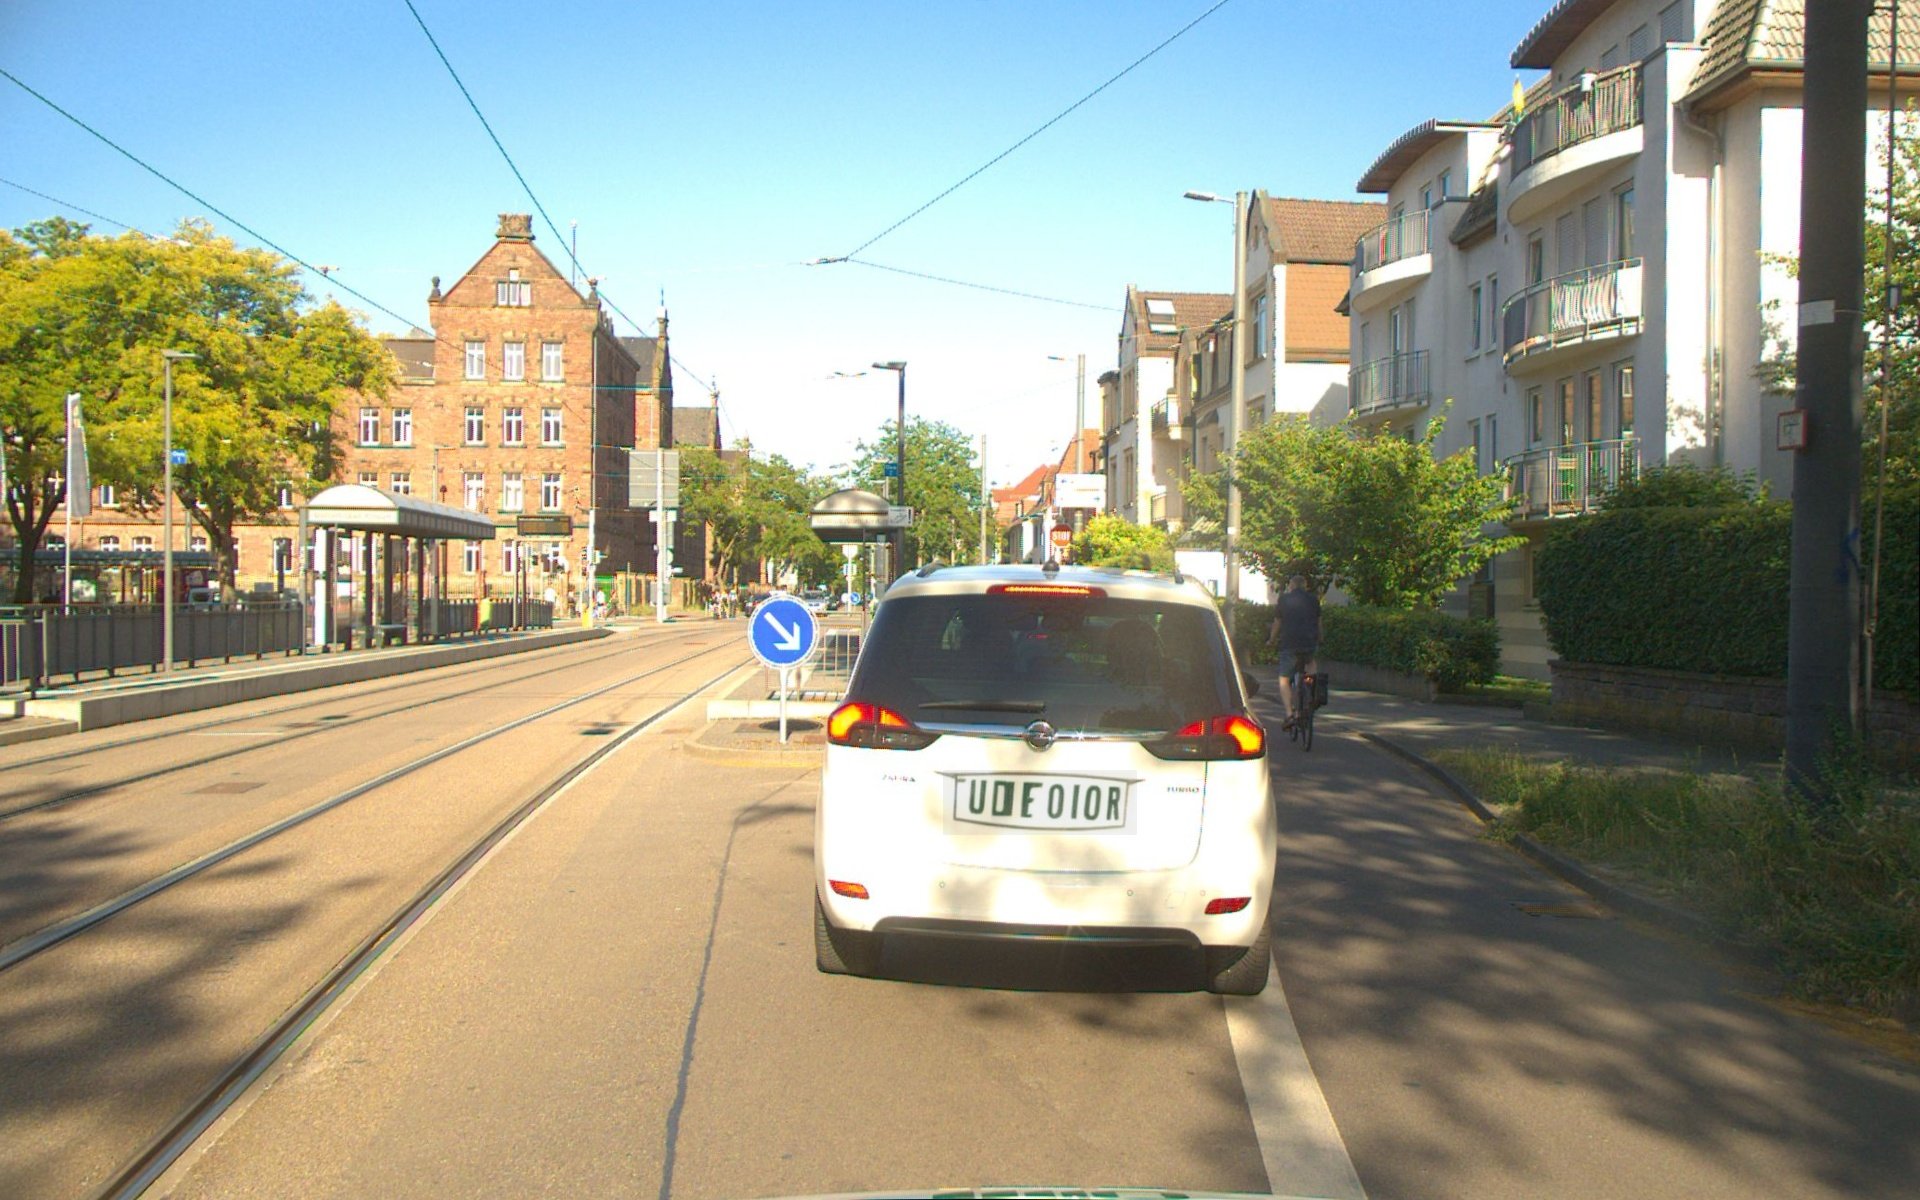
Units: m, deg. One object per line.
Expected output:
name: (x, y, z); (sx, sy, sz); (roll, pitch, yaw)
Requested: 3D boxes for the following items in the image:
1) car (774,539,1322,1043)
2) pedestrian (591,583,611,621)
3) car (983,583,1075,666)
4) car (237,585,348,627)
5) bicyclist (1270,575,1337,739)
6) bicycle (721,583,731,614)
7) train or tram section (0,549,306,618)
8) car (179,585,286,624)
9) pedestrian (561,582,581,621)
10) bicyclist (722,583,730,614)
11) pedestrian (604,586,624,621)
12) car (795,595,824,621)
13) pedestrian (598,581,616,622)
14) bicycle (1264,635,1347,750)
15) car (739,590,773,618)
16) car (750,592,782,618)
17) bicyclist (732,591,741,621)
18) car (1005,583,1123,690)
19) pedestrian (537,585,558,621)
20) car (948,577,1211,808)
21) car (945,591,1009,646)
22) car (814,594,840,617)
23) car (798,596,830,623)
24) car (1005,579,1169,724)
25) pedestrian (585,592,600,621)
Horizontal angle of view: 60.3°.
car: (0.506, 0.630, 7.651); (1.866, 1.690, 4.003); (0, 0, 6)
pedestrian: (-19.252, 0.107, 88.674); (0.789, 2.049, 0.711); (1, -1, -38)
car: (1.447, 0.499, 36.125); (1.868, 1.690, 4.000); (0, 0, 0)
car: (-28.113, 0.264, 69.753); (3.908, 1.658, 1.817); (1, 0, -4)
bicyclist: (3.687, 0.593, 17.780); (0.603, 1.716, 0.779); (0, 0, 5)
bicycle: (-15.385, -0.098, 108.800); (0.477, 2.049, 1.405); (0, 0, -1)
train or tram section: (-40.746, -0.764, 79.430); (17.048, 3.210, 3.343); (0, 0, -6)
car: (-32.444, 0.217, 73.827); (3.908, 1.658, 1.817); (1, 0, -4)
pedestrian: (-20.706, 0.079, 88.030); (0.788, 2.049, 0.712); (1, -1, -34)
bicyclist: (-15.388, -0.101, 108.751); (0.488, 2.049, 0.572); (0, 0, -1)
pedestrian: (-19.583, 0.202, 93.587); (0.791, 1.934, 0.744); (1, -1, 18)
car: (-10.464, 0.588, 115.050); (1.711, 1.746, 3.999); (1, 0, -1)
pedestrian: (-18.079, 0.083, 84.699); (0.782, 2.049, 0.717); (1, -1, -18)
bicycle: (3.692, 0.955, 17.791); (0.611, 1.116, 1.974); (0, 0, 4)
car: (-13.155, 0.289, 106.840); (1.711, 1.746, 3.999); (1, 0, -1)
car: (-13.301, 0.348, 113.505); (1.711, 1.746, 3.999); (1, 0, -1)
bicyclist: (-15.094, 0.418, 111.691); (0.478, 2.049, 0.502); (1, -1, -1)
car: (1.789, 0.572, 28.292); (1.867, 1.690, 4.002); (0, 0, 4)
pedestrian: (-22.104, 0.165, 88.681); (0.791, 1.934, 0.744); (1, -1, 13)
car: (1.067, 0.644, 13.780); (1.866, 1.625, 4.003); (0, 0, 6)
car: (0.504, 0.549, 53.088); (1.869, 1.690, 3.998); (0, 0, -2)
car: (-10.350, 0.432, 128.906); (1.711, 1.746, 3.999); (1, 0, -1)
car: (-9.447, 0.611, 107.208); (1.711, 1.746, 3.999); (1, 0, -1)
car: (1.679, 0.583, 21.013); (1.866, 1.653, 4.003); (0, 0, 6)
pedestrian: (-21.117, 0.363, 94.975); (0.640, 1.640, 0.711); (1, -1, 1)
